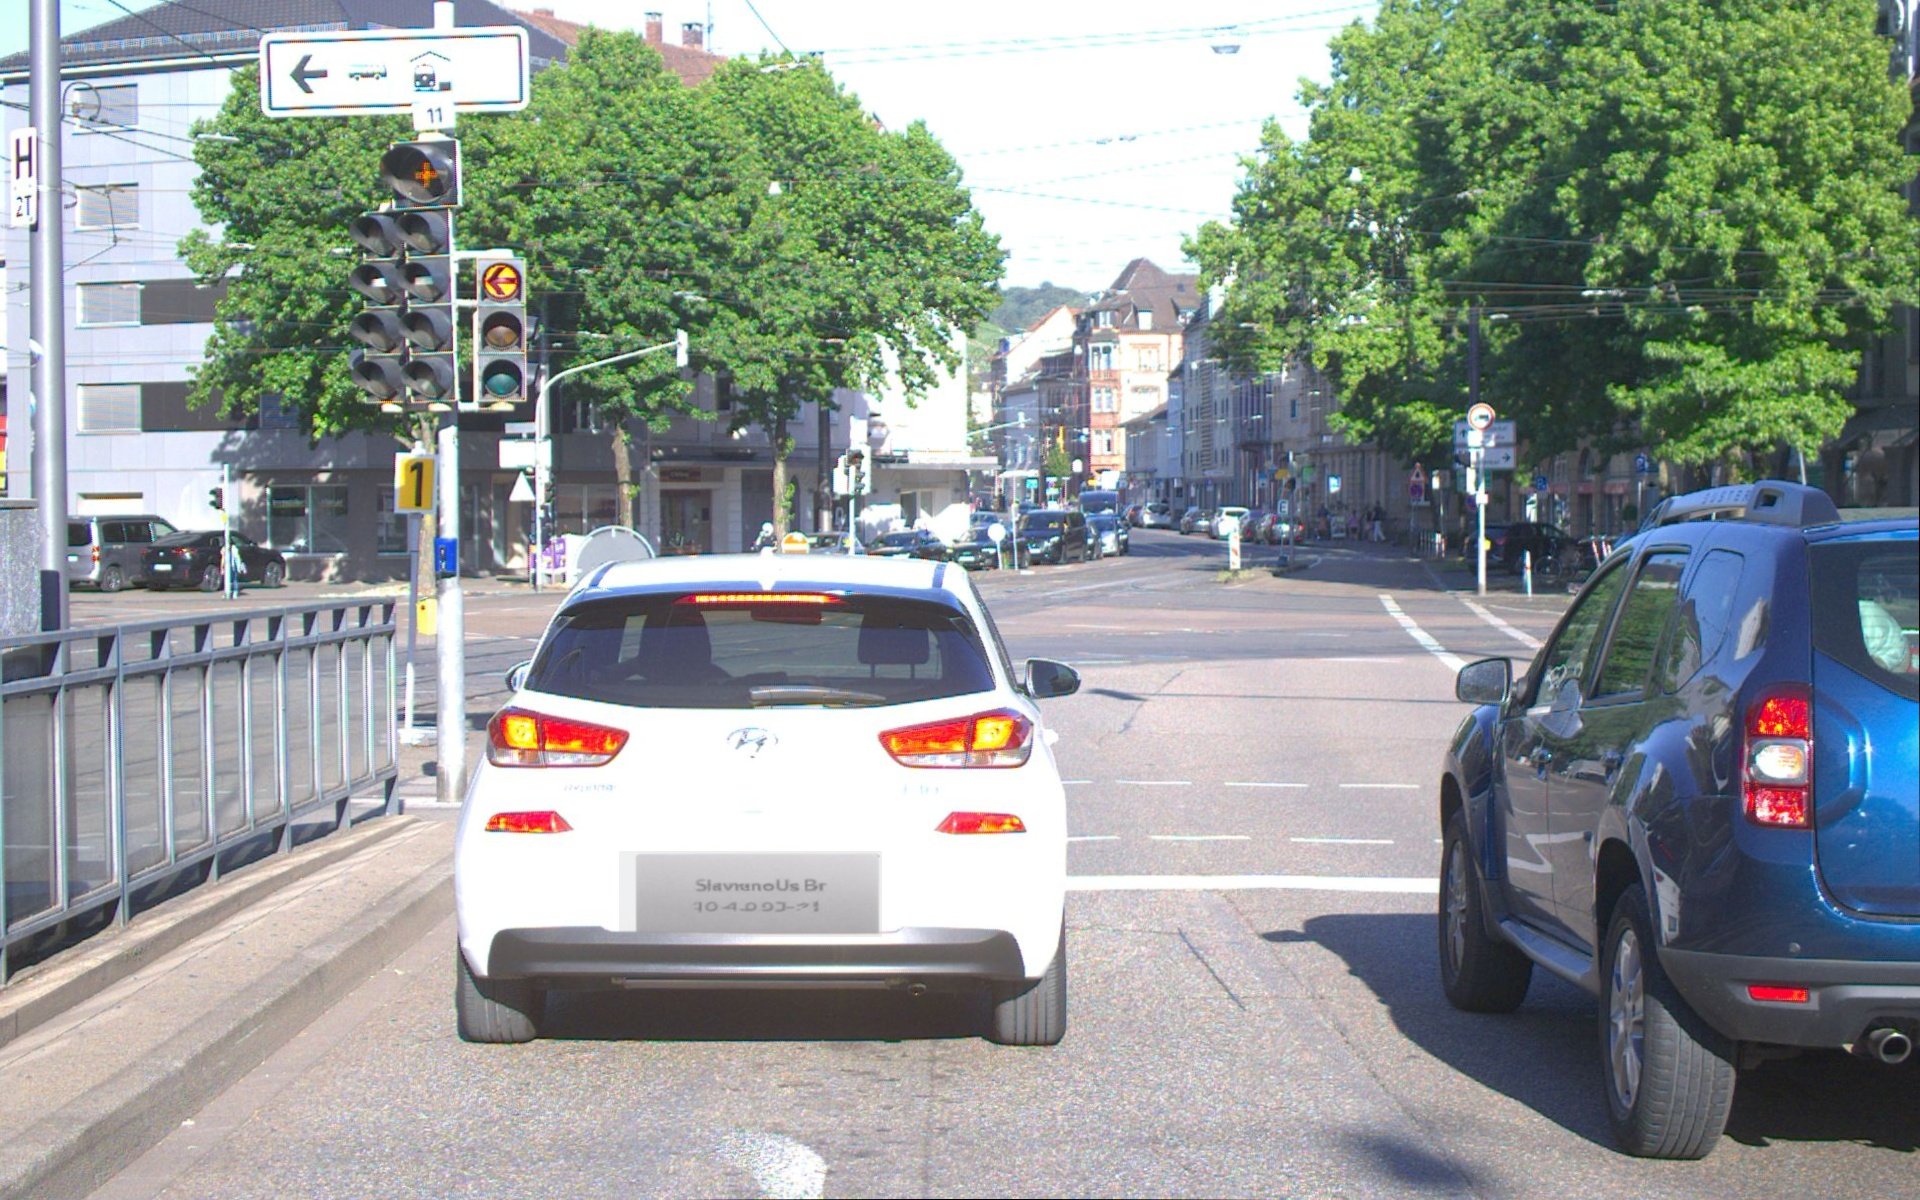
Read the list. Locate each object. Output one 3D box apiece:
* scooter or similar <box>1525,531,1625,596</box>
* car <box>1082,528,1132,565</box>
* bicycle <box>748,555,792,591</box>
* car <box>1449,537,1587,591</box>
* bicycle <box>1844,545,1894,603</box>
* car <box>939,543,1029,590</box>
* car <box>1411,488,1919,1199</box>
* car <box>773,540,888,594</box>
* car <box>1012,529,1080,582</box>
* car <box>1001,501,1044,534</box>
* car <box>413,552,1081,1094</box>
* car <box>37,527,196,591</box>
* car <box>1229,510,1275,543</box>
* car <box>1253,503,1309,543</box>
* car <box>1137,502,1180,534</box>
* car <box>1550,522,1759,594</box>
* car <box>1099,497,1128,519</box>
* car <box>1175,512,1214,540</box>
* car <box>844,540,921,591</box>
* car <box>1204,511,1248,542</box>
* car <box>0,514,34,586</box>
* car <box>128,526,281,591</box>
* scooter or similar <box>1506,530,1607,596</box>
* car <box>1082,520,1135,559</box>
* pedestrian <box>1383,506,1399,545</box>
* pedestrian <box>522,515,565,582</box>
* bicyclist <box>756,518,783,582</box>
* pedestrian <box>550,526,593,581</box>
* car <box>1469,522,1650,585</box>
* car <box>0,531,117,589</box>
[{"bbox_3d":[12.148,-0.726,67.918,1.949,1.276,0.552,1,1,41],"label":"scooter or similar"},{"bbox_3d":[6.076,-2.218,142.171,1.794,1.505,4.000,0,1,-2],"label":"car"},{"bbox_3d":[-5.186,-0.751,93.741,0.468,0.953,1.765,0,1,23],"label":"bicycle"},{"bbox_3d":[15.916,-1.040,97.995,3.989,1.505,1.799,-1,1,-42],"label":"car"},{"bbox_3d":[17.804,-0.519,67.341,0.609,1.104,1.800,0,1,4],"label":"bicycle"},{"bbox_3d":[0.797,-1.091,112.148,1.796,1.505,3.996,0,0,19],"label":"car"},{"bbox_3d":[2.454,0.536,9.524,1.800,1.632,4.045,0,1,-1],"label":"car"},{"bbox_3d":[-3.676,-0.948,98.108,1.726,1.505,3.871,0,0,24],"label":"car"},{"bbox_3d":[3.024,-1.571,119.572,1.795,1.820,3.999,0,1,10],"label":"car"},{"bbox_3d":[2.853,-3.763,157.074,1.794,1.505,4.000,0,1,-2],"label":"car"},{"bbox_3d":[-0.615,0.582,11.385,1.808,1.447,4.000,1,1,-1],"label":"car"},{"bbox_3d":[-22.056,-1.092,89.993,1.797,1.643,4.004,1,1,29],"label":"car"},{"bbox_3d":[13.771,-3.473,162.304,1.794,1.505,4.000,0,1,-1],"label":"car"},{"bbox_3d":[14.529,-3.478,155.773,2.105,1.770,4.342,0,1,-1],"label":"car"},{"bbox_3d":[12.278,-5.062,212.712,2.327,2.007,4.977,0,1,-1],"label":"car"},{"bbox_3d":[14.802,-0.906,73.369,3.986,1.505,1.801,0,1,-9],"label":"car"},{"bbox_3d":[10.614,-6.364,237.996,1.794,1.505,4.000,0,1,-1],"label":"car"},{"bbox_3d":[12.796,-4.047,187.701,1.794,1.517,4.000,0,1,-1],"label":"car"},{"bbox_3d":[-2.321,-1.042,104.096,1.794,1.505,3.999,0,0,7],"label":"car"},{"bbox_3d":[13.038,-3.612,168.465,1.794,1.505,4.000,0,1,-1],"label":"car"},{"bbox_3d":[-26.946,-1.345,92.917,1.796,1.949,3.997,0,1,18],"label":"car"},{"bbox_3d":[-19.594,-1.091,89.280,1.923,1.643,4.176,0,1,20],"label":"car"},{"bbox_3d":[11.687,-0.731,67.369,1.949,1.276,0.552,1,1,41],"label":"scooter or similar"},{"bbox_3d":[5.788,-2.360,134.173,1.794,1.505,4.000,0,1,-2],"label":"car"},{"bbox_3d":[18.462,-3.197,147.225,0.648,1.645,0.650,1,0,10],"label":"pedestrian"},{"bbox_3d":[-11.014,-1.364,91.009,0.837,1.765,0.781,0,1,25],"label":"pedestrian"},{"bbox_3d":[-5.184,-1.355,93.733,0.468,1.739,0.716,0,1,23],"label":"bicyclist"},{"bbox_3d":[-10.458,-1.250,92.570,0.803,1.479,0.861,0,1,26],"label":"pedestrian"},{"bbox_3d":[14.588,-1.133,83.782,3.986,1.505,1.800,0,1,-6],"label":"car"},{"bbox_3d":[-24.438,-1.082,92.015,1.796,1.505,4.007,0,1,18],"label":"car"}]
